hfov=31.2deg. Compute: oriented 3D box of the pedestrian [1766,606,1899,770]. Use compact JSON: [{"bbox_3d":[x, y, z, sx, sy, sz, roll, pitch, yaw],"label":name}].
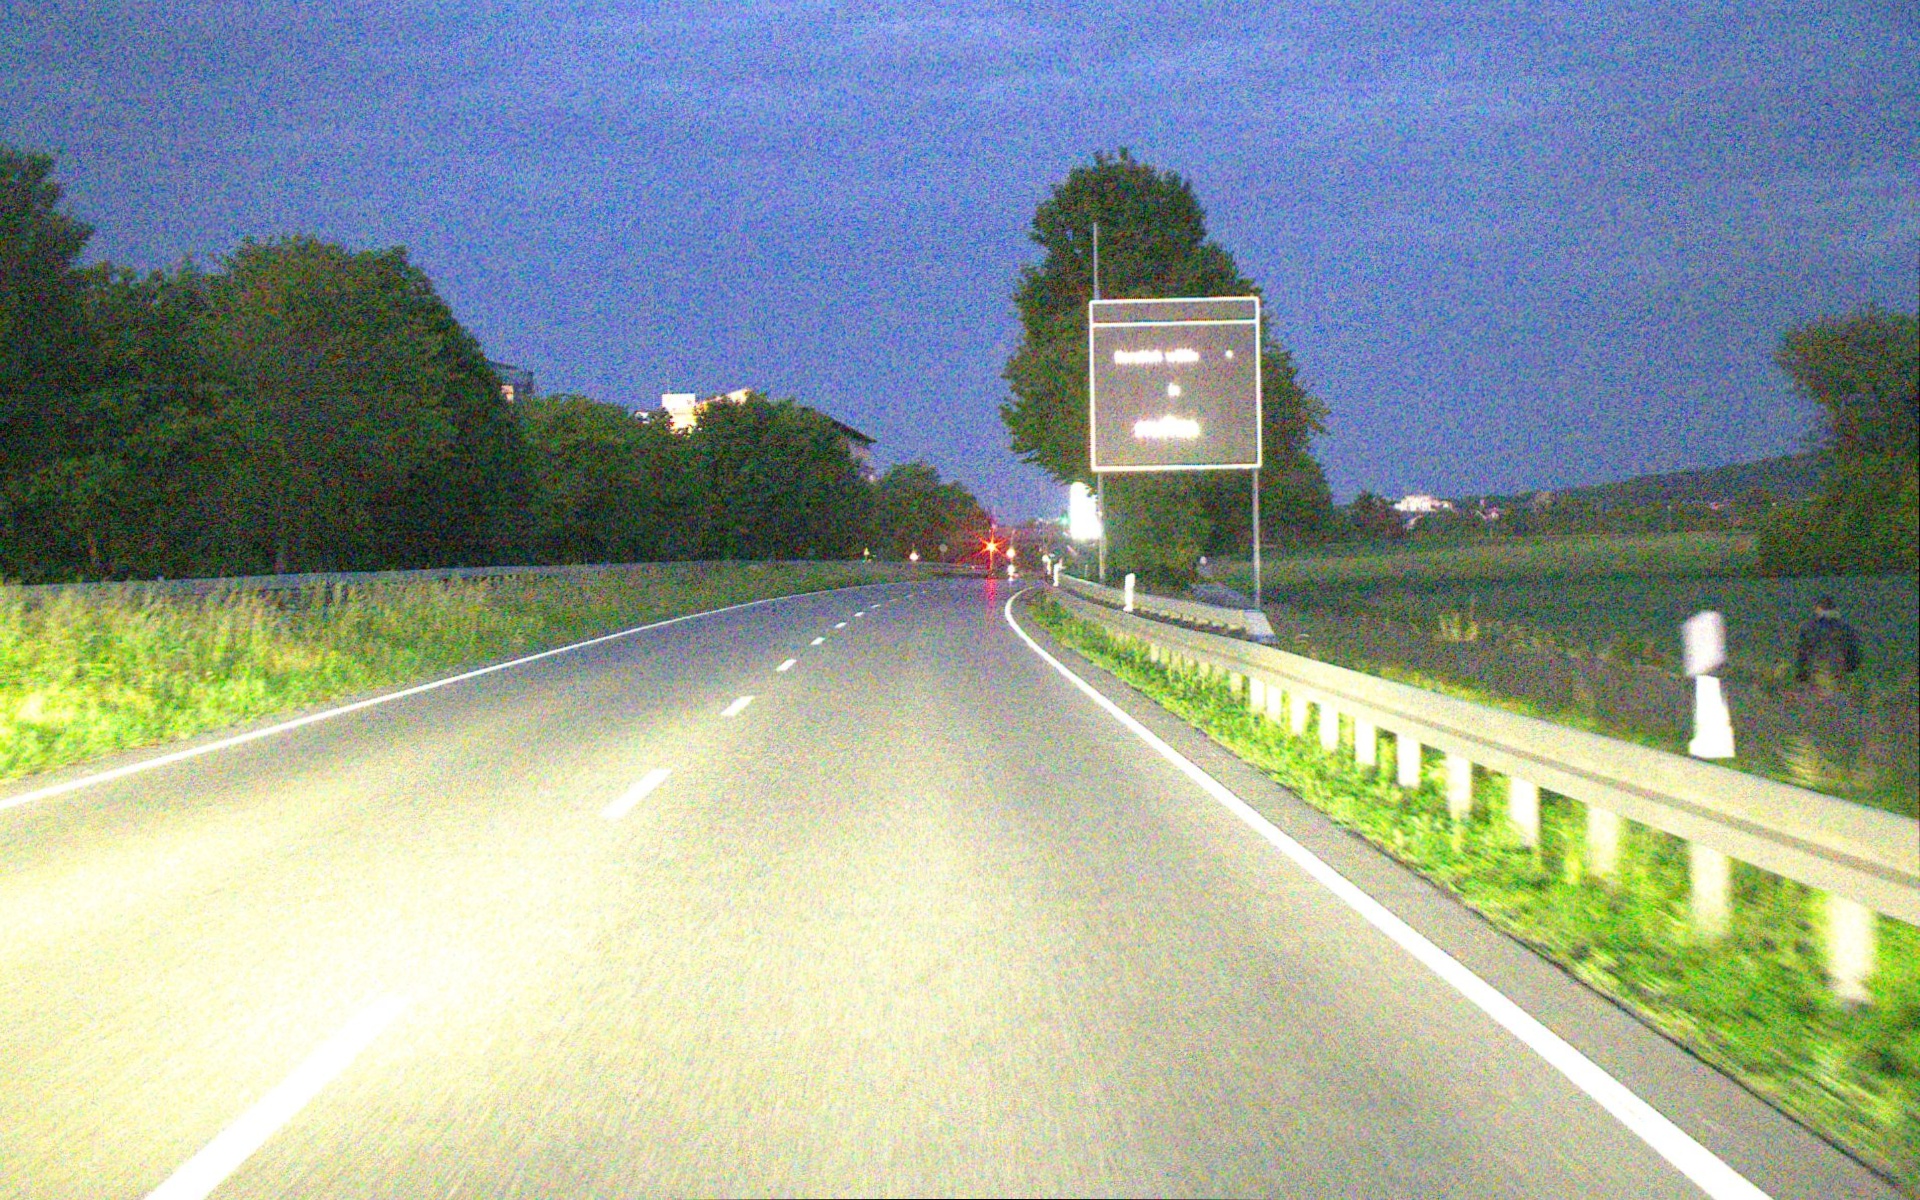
[{"bbox_3d":[8.967,0.890,35.382,1.062,1.637,1.118,0,1,0],"label":"pedestrian"}]
